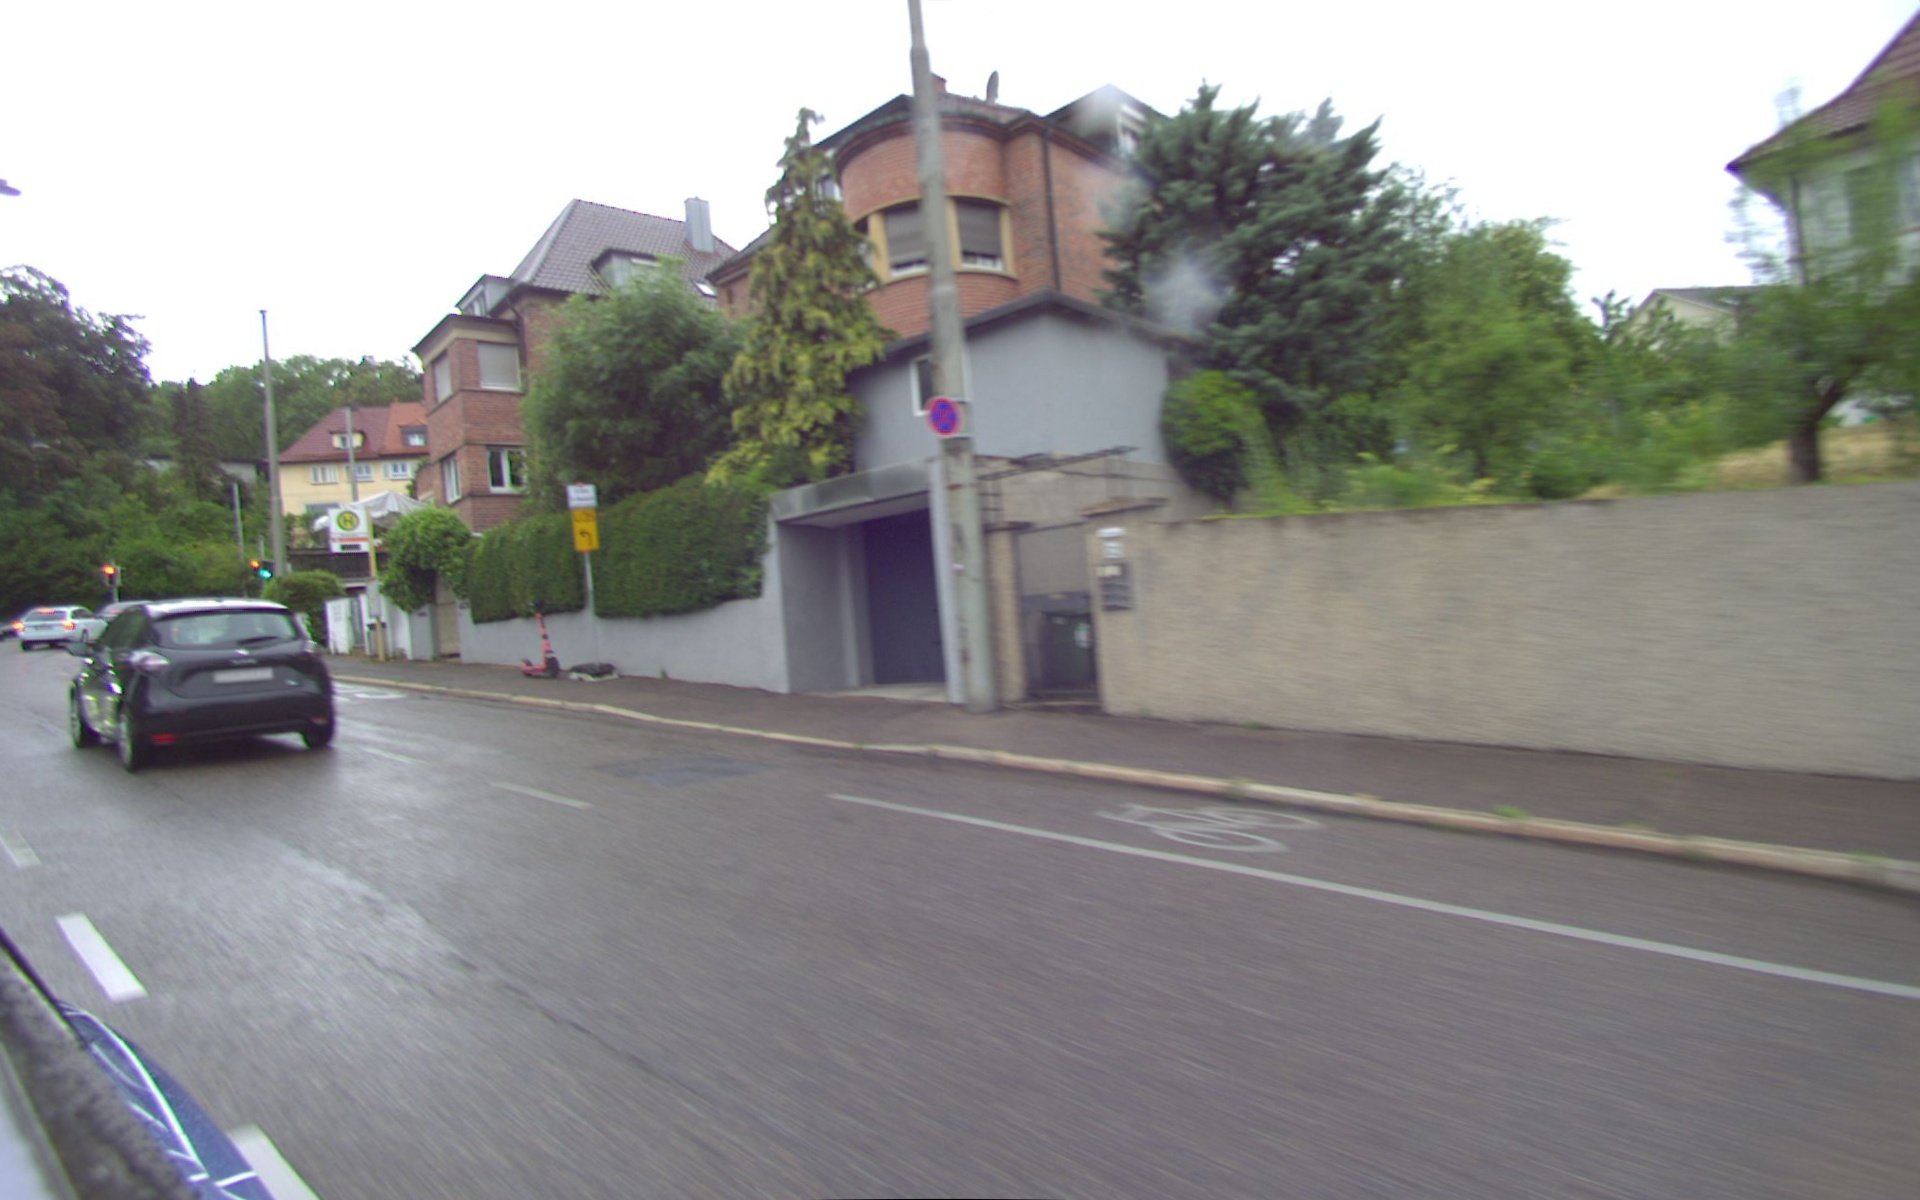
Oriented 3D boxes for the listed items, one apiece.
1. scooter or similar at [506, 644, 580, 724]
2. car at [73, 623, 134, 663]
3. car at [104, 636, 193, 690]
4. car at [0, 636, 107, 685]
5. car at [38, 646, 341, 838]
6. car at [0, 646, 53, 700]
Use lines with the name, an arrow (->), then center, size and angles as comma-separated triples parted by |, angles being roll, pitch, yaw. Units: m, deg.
scooter or similar -> -6.728, 1.329, 16.310 | 1.435, 1.213, 0.517 | -3, -1, 42
car -> -36.507, 1.778, 43.081 | 1.836, 1.405, 4.603 | -4, 2, -41
car -> -25.749, 1.927, 32.230 | 1.713, 1.461, 4.628 | -1, 0, -33
car -> -32.802, 2.143, 36.722 | 1.821, 1.485, 4.455 | -1, 0, -27
car -> -8.155, 1.309, 10.581 | 3.973, 1.532, 1.749 | -3, -1, 41
car -> -44.312, 3.423, 46.941 | 1.966, 2.028, 4.012 | -7, -4, -22
